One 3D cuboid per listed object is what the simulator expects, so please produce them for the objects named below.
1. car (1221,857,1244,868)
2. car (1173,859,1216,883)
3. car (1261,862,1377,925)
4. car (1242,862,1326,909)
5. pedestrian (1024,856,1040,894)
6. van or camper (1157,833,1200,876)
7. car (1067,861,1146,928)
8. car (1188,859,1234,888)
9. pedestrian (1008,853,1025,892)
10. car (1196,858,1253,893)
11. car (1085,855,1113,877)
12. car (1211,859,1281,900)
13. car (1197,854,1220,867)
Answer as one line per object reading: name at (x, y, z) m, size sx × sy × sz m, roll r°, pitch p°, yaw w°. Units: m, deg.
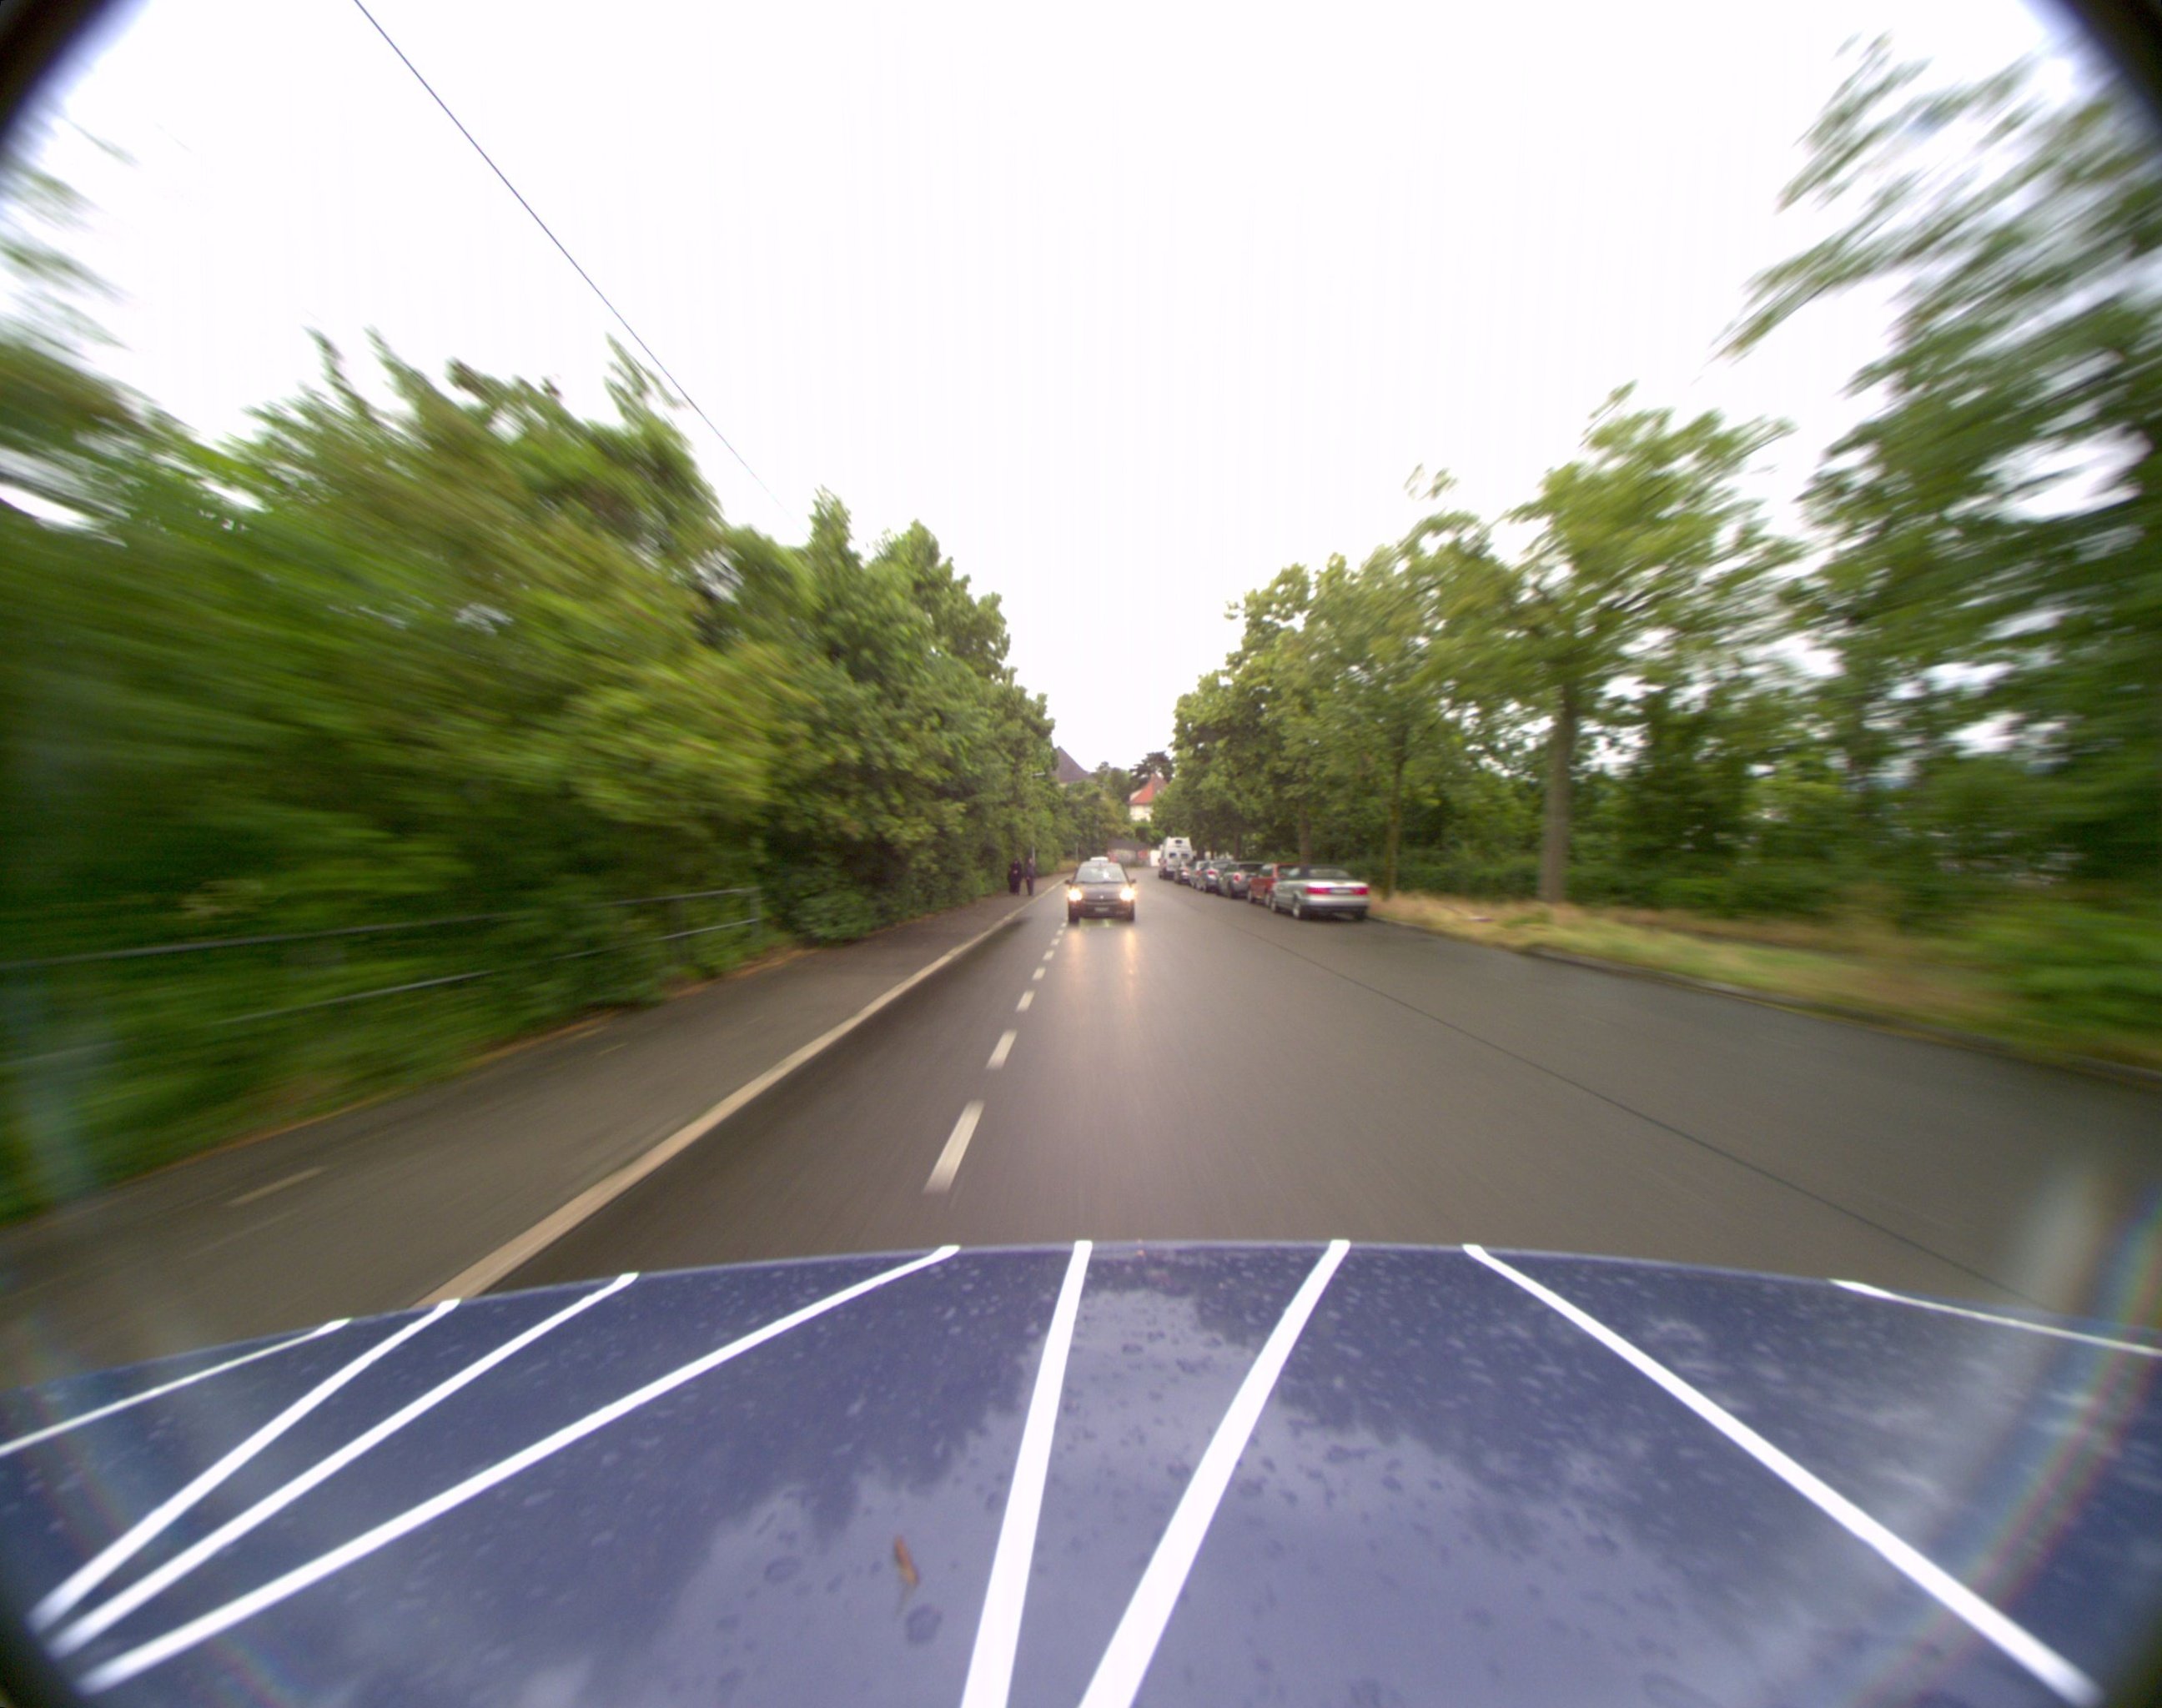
car at (20.875, 1.188, 104.520) m, size 1.655 × 1.421 × 4.384 m, roll 3°, pitch 0°, yaw 31°
car at (6.837, 1.004, 46.250) m, size 1.998 × 1.301 × 5.357 m, roll 1°, pitch -1°, yaw 3°
car at (6.113, 0.964, 20.087) m, size 1.759 × 1.394 × 4.419 m, roll 0°, pitch 1°, yaw 1°
car at (6.533, 0.972, 24.886) m, size 1.599 × 1.354 × 4.000 m, roll 0°, pitch 1°, yaw -1°
pedestrian at (-2.070, 0.868, 31.929) m, size 0.554 × 1.557 × 0.486 m, roll 3°, pitch 2°, yaw -8°
van or camper at (7.200, -0.006, 56.963) m, size 2.511 × 3.009 × 6.561 m, roll 0°, pitch 1°, yaw 2°
car at (0.568, 0.960, 19.698) m, size 1.804 × 1.418 × 4.382 m, roll -1°, pitch 1°, yaw 0°
car at (6.787, 0.983, 40.084) m, size 1.998 × 1.397 × 4.716 m, roll 1°, pitch 0°, yaw 5°
pedestrian at (-2.696, 0.770, 31.651) m, size 0.597 × 1.557 × 0.668 m, roll 2°, pitch 1°, yaw -8°
car at (6.553, 0.931, 35.124) m, size 1.998 × 1.397 × 4.714 m, roll 1°, pitch 1°, yaw 3°
car at (1.457, 0.873, 59.224) m, size 2.030 × 1.619 × 4.228 m, roll 0°, pitch 0°, yaw 3°
car at (6.490, 0.947, 30.359) m, size 1.998 × 1.397 × 4.714 m, roll 1°, pitch 1°, yaw 3°
car at (15.897, 0.781, 94.627) m, size 1.684 × 1.501 × 4.212 m, roll 4°, pitch 2°, yaw 23°
